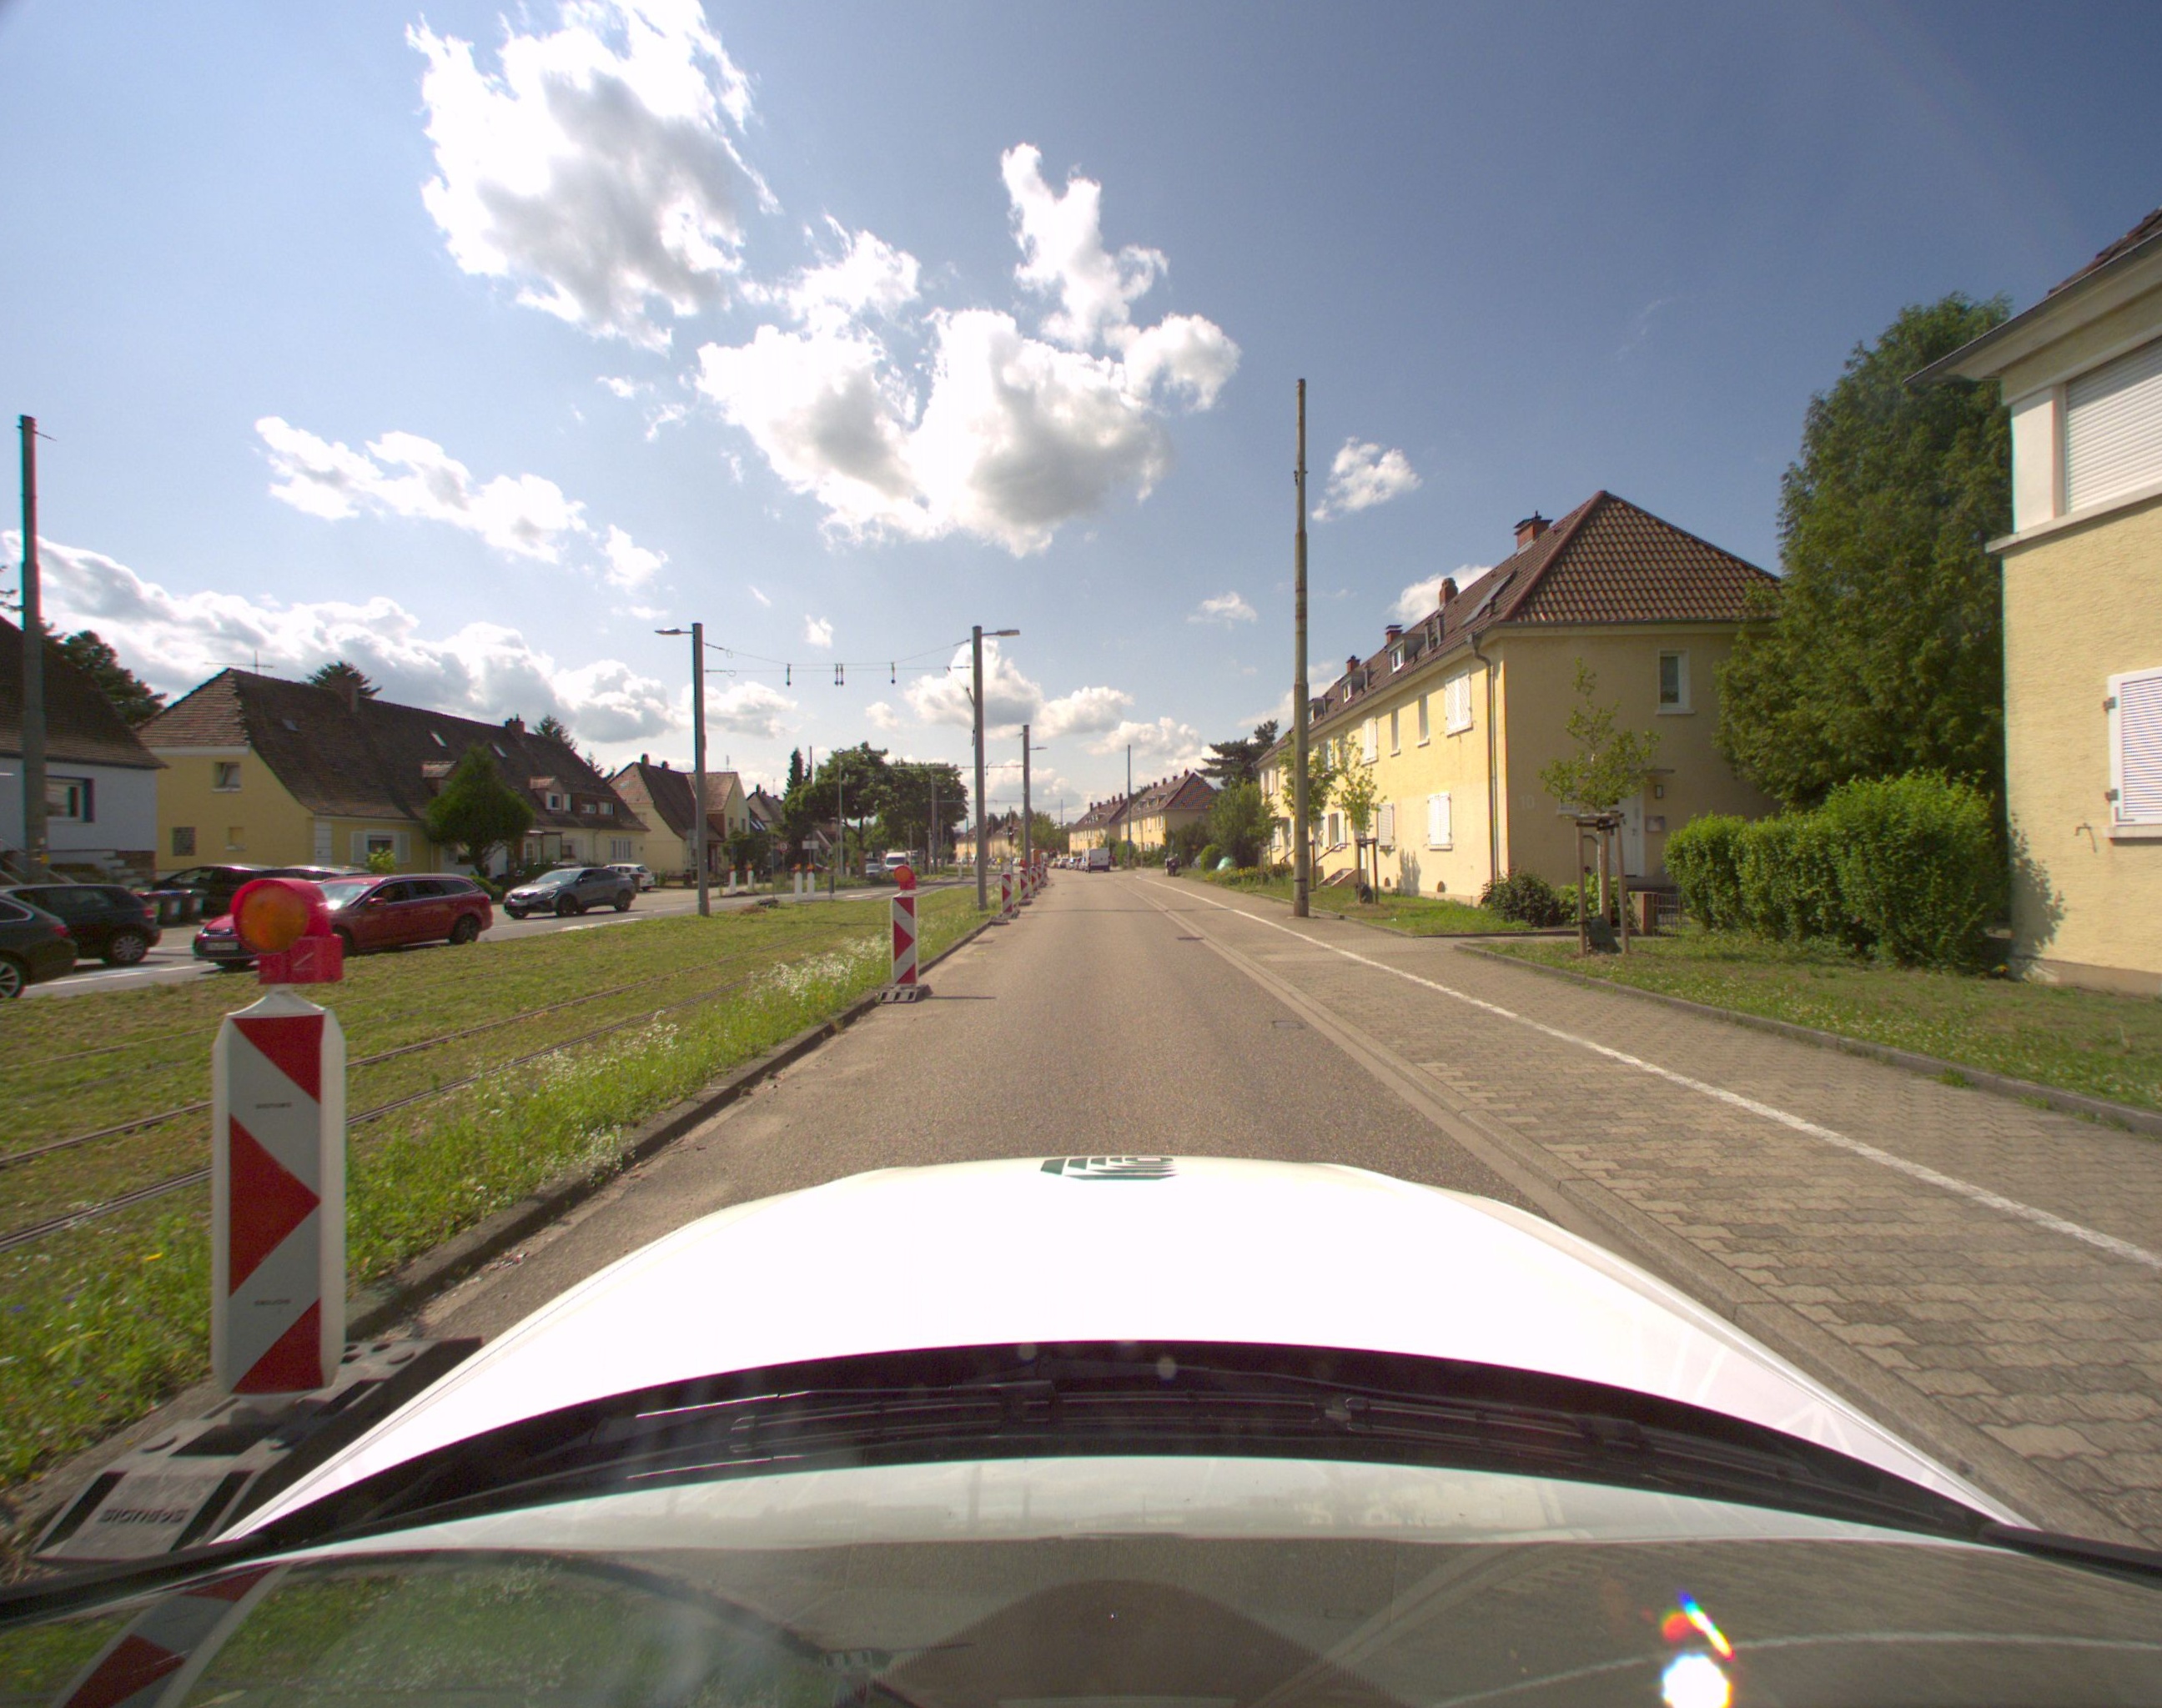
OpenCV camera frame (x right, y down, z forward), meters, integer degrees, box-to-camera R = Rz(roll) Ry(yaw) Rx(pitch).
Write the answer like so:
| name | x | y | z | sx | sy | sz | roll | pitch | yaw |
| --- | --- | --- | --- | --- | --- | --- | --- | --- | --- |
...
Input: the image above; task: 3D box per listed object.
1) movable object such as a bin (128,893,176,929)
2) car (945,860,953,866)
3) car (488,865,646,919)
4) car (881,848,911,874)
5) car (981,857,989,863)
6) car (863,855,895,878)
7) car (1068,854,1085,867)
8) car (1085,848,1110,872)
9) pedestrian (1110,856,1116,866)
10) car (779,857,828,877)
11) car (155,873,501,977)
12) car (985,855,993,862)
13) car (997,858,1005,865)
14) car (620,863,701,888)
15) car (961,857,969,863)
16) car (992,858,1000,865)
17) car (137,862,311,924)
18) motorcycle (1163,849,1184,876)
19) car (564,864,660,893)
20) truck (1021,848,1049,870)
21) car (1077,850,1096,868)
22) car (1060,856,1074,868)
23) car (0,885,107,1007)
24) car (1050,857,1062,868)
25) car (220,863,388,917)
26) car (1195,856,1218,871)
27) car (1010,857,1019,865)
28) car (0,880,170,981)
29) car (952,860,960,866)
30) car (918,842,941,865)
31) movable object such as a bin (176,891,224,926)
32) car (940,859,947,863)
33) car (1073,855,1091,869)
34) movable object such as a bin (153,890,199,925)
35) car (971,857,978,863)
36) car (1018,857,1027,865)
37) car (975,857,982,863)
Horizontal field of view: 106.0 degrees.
| name | x | y | z | sx | sy | sz | roll | pitch | yaw |
| --- | --- | --- | --- | --- | --- | --- | --- | --- | --- |
| movable object such as a bin | -25.125 | 1.528 | 22.030 | 0.679 | 0.933 | 0.517 | -1 | 0 | -1 |
| car | -35.722 | 2.488 | 220.613 | 1.264 | 1.426 | 2.642 | -1 | 0 | -27 |
| car | -16.842 | 1.176 | 27.022 | 1.834 | 1.534 | 4.746 | -1 | 0 | 6 |
| car | -17.517 | 0.631 | 77.390 | 2.406 | 2.338 | 4.863 | -1 | 0 | -10 |
| car | -22.216 | 1.401 | 187.744 | 1.261 | 1.350 | 2.648 | -1 | 0 | -19 |
| car | -16.335 | 0.968 | 66.014 | 2.094 | 1.776 | 4.107 | -1 | 0 | -10 |
| car | -0.556 | 0.785 | 97.471 | 1.565 | 1.551 | 3.781 | -1 | 0 | -6 |
| car | 1.549 | 0.556 | 77.054 | 2.060 | 2.149 | 4.874 | -1 | 0 | -2 |
| pedestrian | 3.776 | 0.818 | 96.834 | 0.632 | 1.255 | 0.725 | -1 | 0 | -8 |
| car | -26.886 | 1.230 | 79.007 | 4.098 | 1.776 | 2.099 | -1 | 0 | -3 |
| car | -13.501 | 1.167 | 15.162 | 1.837 | 1.494 | 4.857 | -1 | 0 | 1 |
| car | -20.833 | 1.007 | 183.876 | 1.261 | 1.350 | 2.648 | -1 | 0 | -19 |
| car | -16.914 | 1.531 | 172.000 | 1.261 | 1.426 | 2.650 | -1 | 0 | -17 |
| car | -25.419 | 1.289 | 49.287 | 3.974 | 1.398 | 1.704 | 0 | 0 | 0 |
| car | -29.442 | 1.620 | 206.632 | 1.262 | 1.426 | 2.647 | -1 | 0 | -21 |
| car | -18.529 | 1.589 | 177.345 | 1.261 | 1.426 | 2.648 | -1 | 0 | -19 |
| car | -25.769 | 1.145 | 24.576 | 3.375 | 1.594 | 1.603 | 4 | 0 | -2 |
| motorcycle | 5.779 | 0.515 | 50.958 | 1.063 | 1.635 | 2.083 | -1 | 0 | 0 |
| car | -25.898 | 1.349 | 45.077 | 4.094 | 1.466 | 1.991 | -1 | 0 | 0 |
| truck | -7.923 | 0.873 | 139.282 | 2.646 | 3.494 | 9.386 | -1 | 0 | -16 |
| car | 0.576 | 0.508 | 86.696 | 1.565 | 1.897 | 3.781 | -1 | 0 | -6 |
| car | -1.897 | 1.074 | 109.286 | 1.565 | 1.551 | 3.471 | -1 | 0 | -6 |
| car | -13.744 | 1.125 | 8.247 | 1.837 | 1.413 | 4.915 | -1 | 0 | 0 |
| car | -3.563 | 1.158 | 115.755 | 1.565 | 1.551 | 3.471 | -1 | 0 | -6 |
| car | -26.127 | 1.192 | 27.470 | 3.941 | 1.491 | 1.603 | 4 | 0 | -2 |
| car | 9.315 | 0.710 | 60.648 | 1.307 | 1.029 | 2.768 | -1 | 0 | 0 |
| car | -13.135 | 1.349 | 159.704 | 1.260 | 1.426 | 2.651 | -1 | 0 | -16 |
| car | -17.644 | 1.241 | 13.085 | 1.837 | 1.494 | 3.656 | -1 | 0 | 1 |
| car | -32.854 | 2.395 | 213.859 | 1.263 | 1.426 | 2.645 | -1 | 0 | -23 |
| car | -16.671 | -0.033 | 89.851 | 2.406 | 2.370 | 4.863 | -1 | 0 | -10 |
| movable object such as a bin | -25.103 | 1.546 | 23.214 | 0.692 | 0.933 | 0.606 | -1 | 0 | -2 |
| car | -38.179 | 2.043 | 226.566 | 1.263 | 1.142 | 2.645 | -1 | 0 | -23 |
| car | 0.093 | 0.923 | 91.897 | 1.565 | 1.551 | 3.781 | -1 | 0 | -6 |
| movable object such as a bin | -25.113 | 1.485 | 22.595 | 0.679 | 0.933 | 0.517 | -1 | 0 | -1 |
| car | -25.622 | 1.390 | 196.186 | 1.170 | 1.426 | 2.647 | -1 | 0 | -20 |
| car | -10.893 | 1.252 | 151.709 | 1.260 | 1.426 | 2.651 | -1 | 0 | -16 |
| car | -24.110 | 1.398 | 191.997 | 1.170 | 1.426 | 2.647 | -1 | 0 | -20 |
